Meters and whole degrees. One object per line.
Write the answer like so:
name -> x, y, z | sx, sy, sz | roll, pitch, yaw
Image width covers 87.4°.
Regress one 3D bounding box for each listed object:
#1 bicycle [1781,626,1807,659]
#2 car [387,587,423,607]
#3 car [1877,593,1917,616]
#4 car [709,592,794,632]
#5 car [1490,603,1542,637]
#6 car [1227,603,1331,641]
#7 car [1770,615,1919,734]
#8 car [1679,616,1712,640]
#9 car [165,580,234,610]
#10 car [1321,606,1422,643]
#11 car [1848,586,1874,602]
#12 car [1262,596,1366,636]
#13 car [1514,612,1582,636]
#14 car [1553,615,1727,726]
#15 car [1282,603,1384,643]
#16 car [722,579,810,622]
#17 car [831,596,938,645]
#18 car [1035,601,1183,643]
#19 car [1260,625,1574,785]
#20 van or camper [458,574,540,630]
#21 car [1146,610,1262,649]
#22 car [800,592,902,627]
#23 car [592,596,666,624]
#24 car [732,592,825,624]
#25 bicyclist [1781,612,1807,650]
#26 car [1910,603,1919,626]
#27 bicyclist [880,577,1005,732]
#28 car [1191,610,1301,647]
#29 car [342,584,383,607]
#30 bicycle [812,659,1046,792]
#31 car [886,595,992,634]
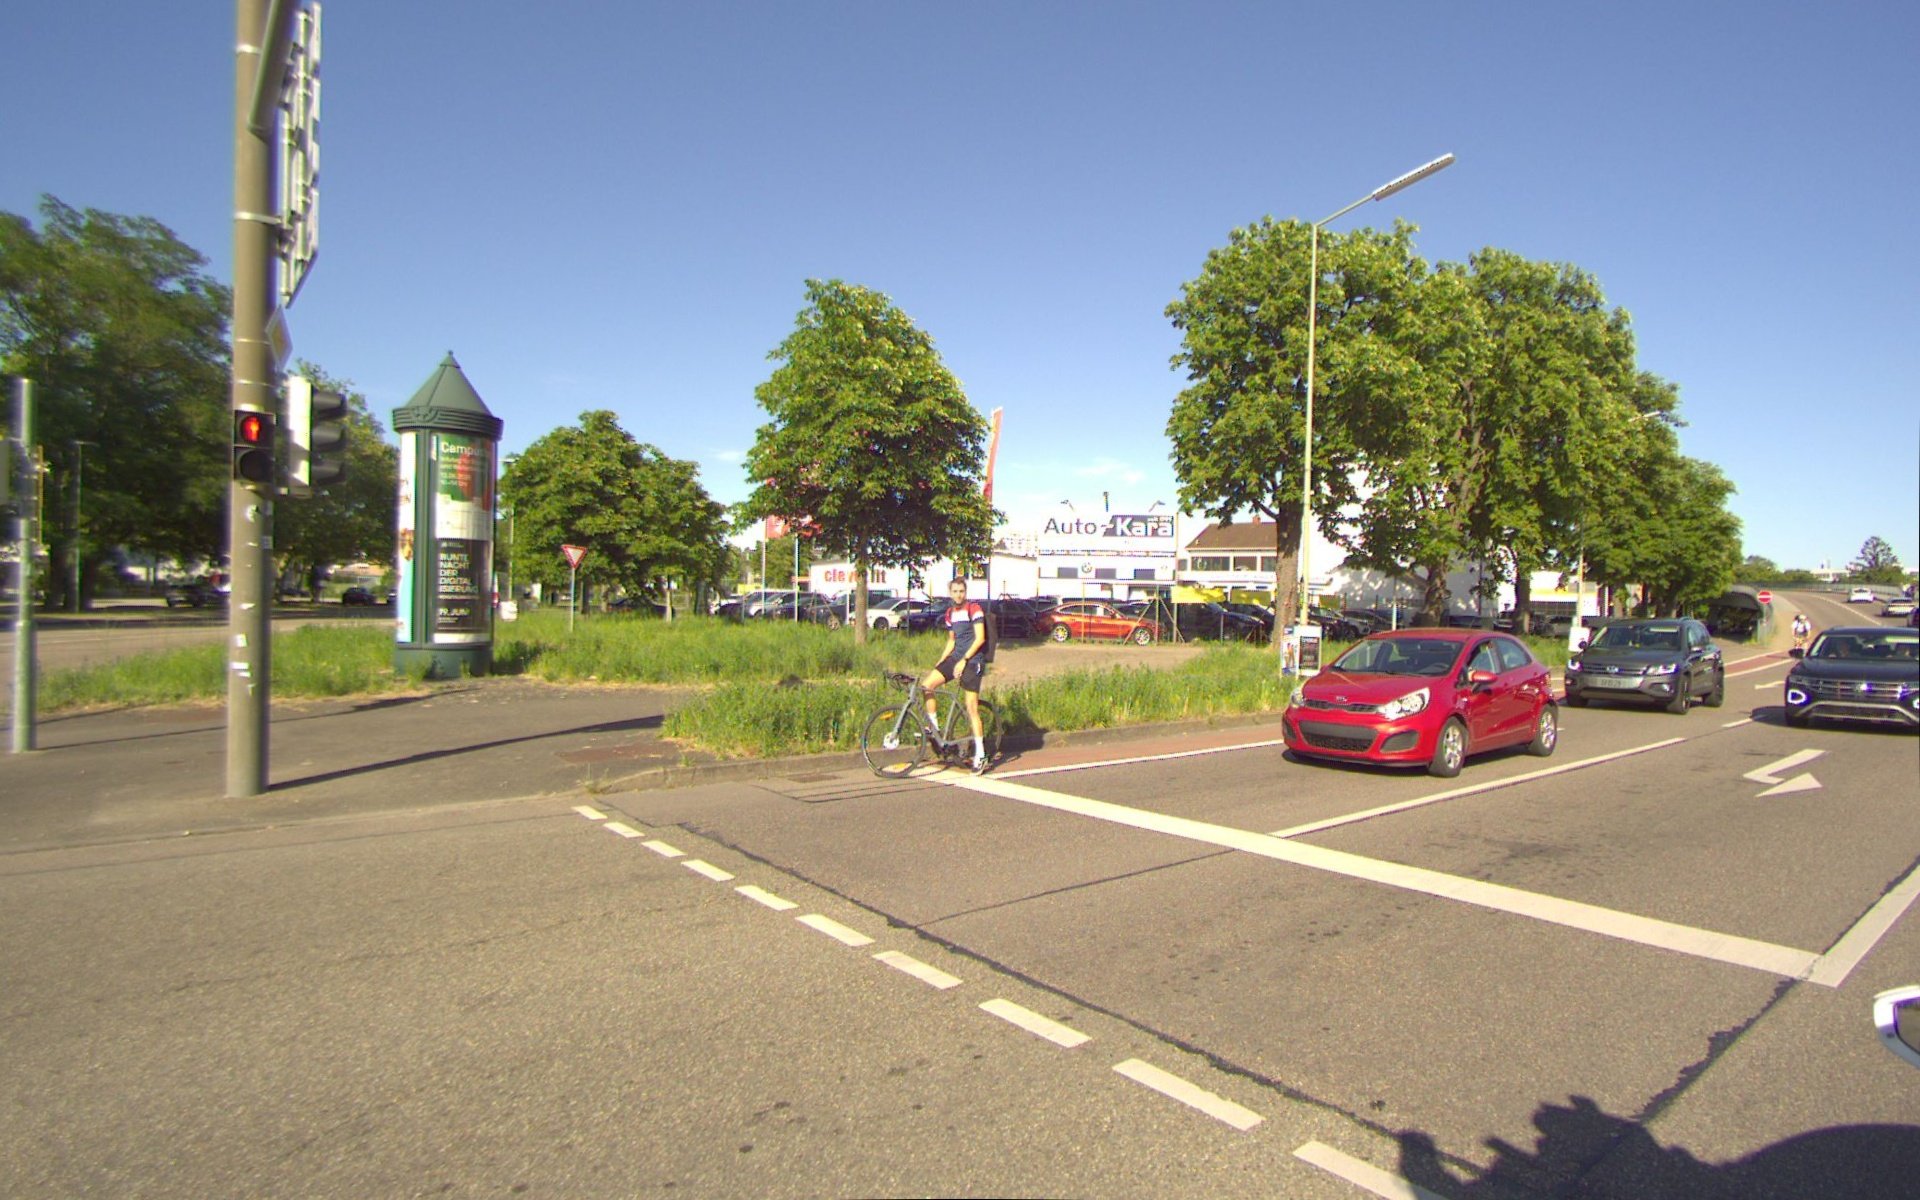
bicycle -> 33.951, 1.702, 40.898 | 0.783, 1.242, 3.198 | 1, 0, 40
car -> -46.403, -0.255, 84.031 | 1.842, 1.459, 3.471 | 3, 0, -17
car -> 74.866, 0.384, 80.237 | 3.968, 1.702, 1.976 | 2, -2, -41
car -> -10.929, 0.625, 52.665 | 3.949, 2.041, 1.986 | 1, 1, -28
car -> 33.358, 1.183, 60.244 | 1.727, 1.956, 5.077 | 1, 0, 41
car -> 13.140, 0.878, 41.372 | 3.808, 1.431, 1.944 | 1, 1, 28
car -> 14.226, 1.082, 15.748 | 3.973, 1.620, 1.894 | 2, -1, -44
car -> 66.229, 2.485, 90.439 | 1.902, 2.018, 4.233 | 2, 1, 42
car -> -47.954, -0.347, 63.417 | 1.975, 1.820, 3.990 | 1, 1, -13
car -> 19.508, 1.119, 47.634 | 4.324, 1.596, 1.813 | 1, 1, 24
car -> 91.004, -0.585, 101.482 | 1.855, 1.564, 3.979 | 1, 1, 41
car -> 14.921, 0.643, 42.341 | 3.925, 1.581, 1.998 | 1, 1, 26
car -> 39.969, 1.621, 68.360 | 3.595, 1.530, 1.785 | 1, 1, 14
car -> 12.701, 1.193, 18.653 | 4.241, 1.759, 1.834 | 0, 1, -44
car -> 16.525, 0.967, 44.539 | 3.931, 1.632, 1.917 | 1, 1, 33
car -> -9.707, 0.044, 50.263 | 3.949, 2.040, 1.986 | 1, 0, -28
car -> -3.065, 0.831, 41.288 | 3.967, 1.911, 1.977 | 1, 0, -40
car -> 5.281, 0.731, 35.322 | 4.957, 1.327, 2.362 | 1, 1, 12
car -> 5.191, 1.020, 11.192 | 3.861, 1.433, 1.768 | 1, -1, -41
van or camper -> -23.449, 0.168, 51.390 | 2.561, 2.617, 6.594 | 1, -1, -14
car -> 9.099, 1.064, 37.470 | 3.859, 1.257, 2.042 | 1, 1, 26
car -> -4.697, 0.420, 43.437 | 3.967, 1.460, 1.977 | 1, 0, -40
car -> -19.288, 0.594, 58.704 | 3.933, 1.550, 1.923 | 1, 0, -14
car -> -8.577, 0.382, 47.620 | 3.959, 1.427, 1.821 | 1, 1, -35
bicyclist -> 33.986, 1.248, 40.930 | 0.763, 1.505, 0.821 | 2, 1, 40
car -> 66.264, 0.979, 68.445 | 4.239, 1.508, 1.901 | 2, -2, -43
bicyclist -> -0.176, 0.496, 9.857 | 0.816, 1.420, 0.925 | 0, 1, -40
car -> 11.224, 1.081, 39.362 | 3.859, 1.257, 2.042 | 1, 1, 26
car -> -46.152, -0.380, 77.693 | 1.710, 1.640, 3.985 | 3, 0, -17
bicycle -> -0.264, 1.157, 9.798 | 2.179, 1.030, 0.929 | 0, 1, -41
car -> -0.796, 0.572, 39.624 | 3.967, 1.481, 1.725 | 1, 0, -40
